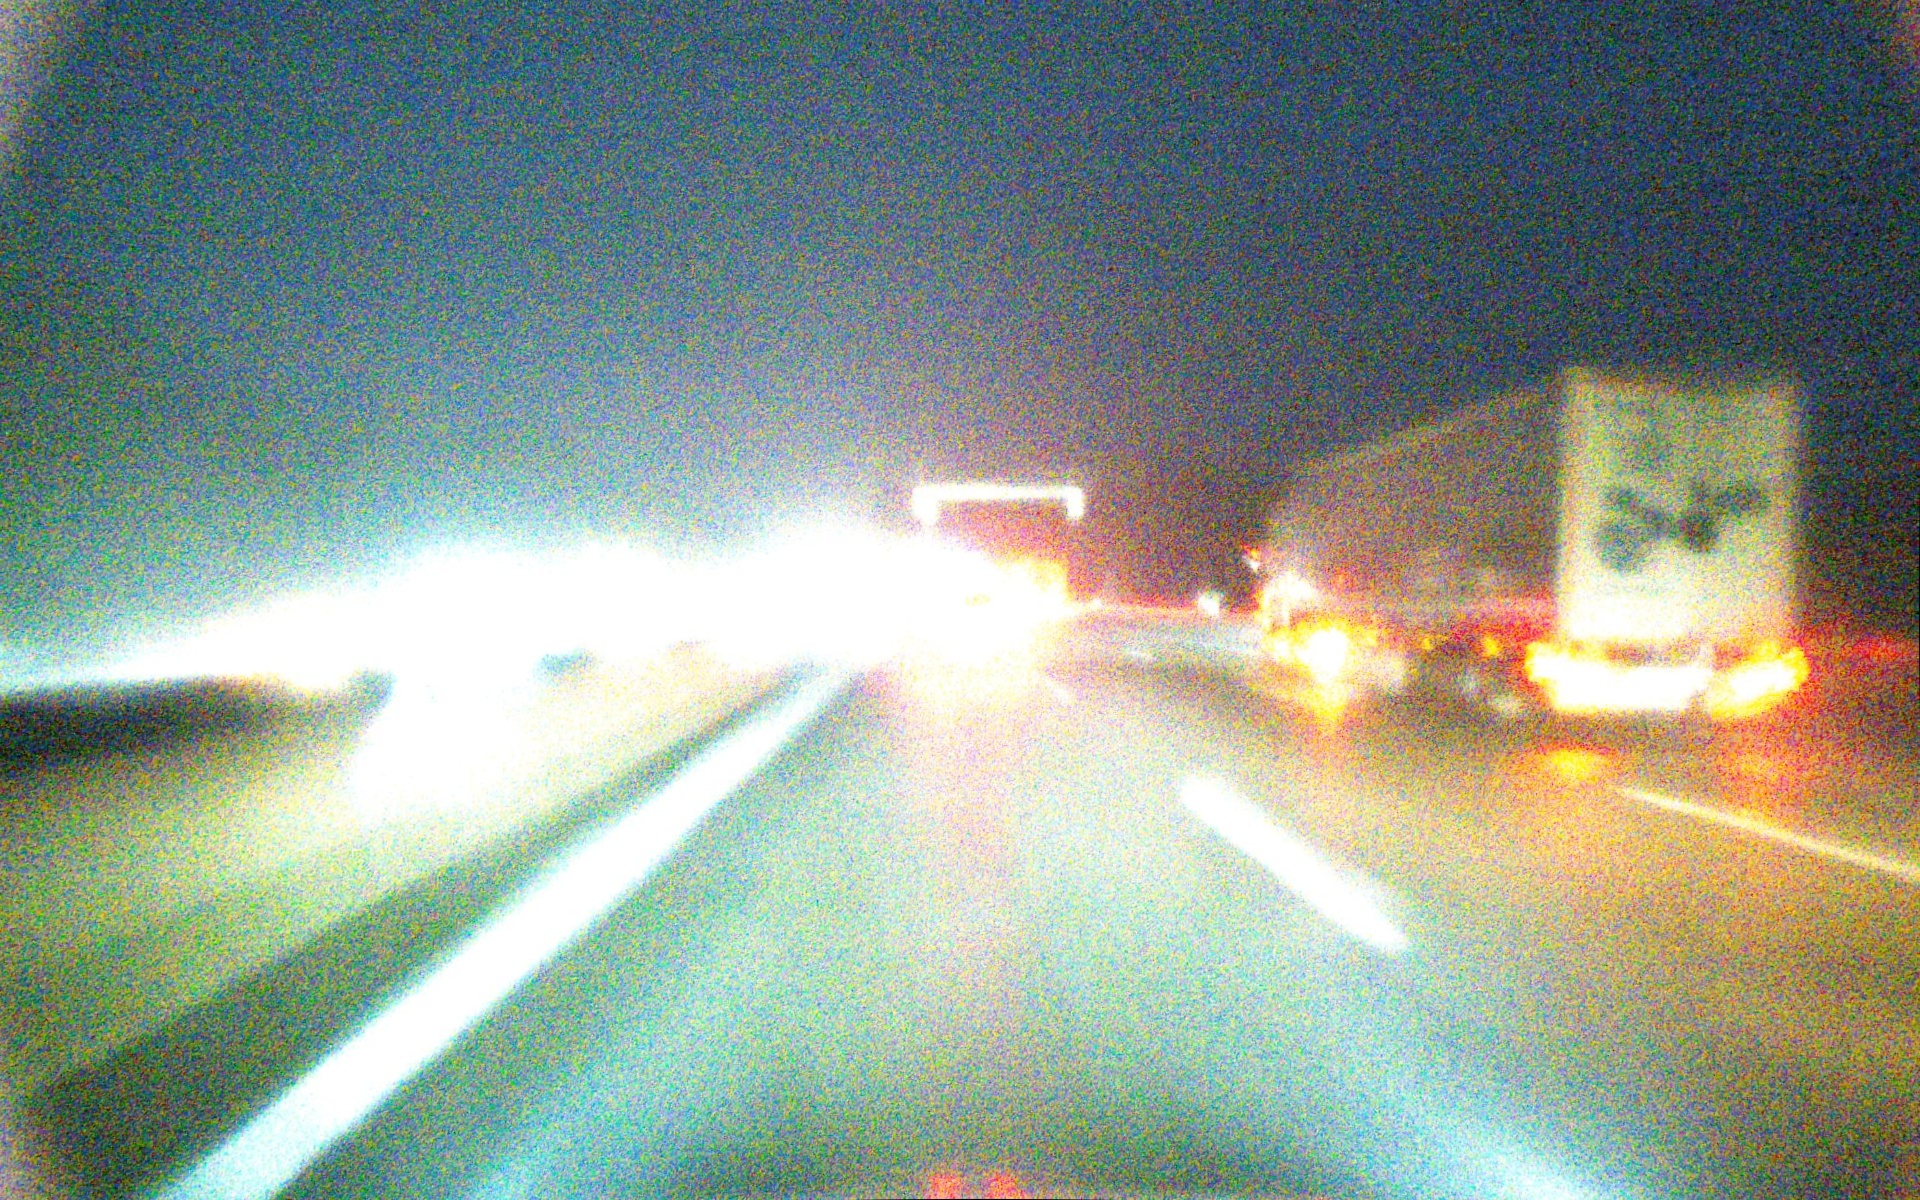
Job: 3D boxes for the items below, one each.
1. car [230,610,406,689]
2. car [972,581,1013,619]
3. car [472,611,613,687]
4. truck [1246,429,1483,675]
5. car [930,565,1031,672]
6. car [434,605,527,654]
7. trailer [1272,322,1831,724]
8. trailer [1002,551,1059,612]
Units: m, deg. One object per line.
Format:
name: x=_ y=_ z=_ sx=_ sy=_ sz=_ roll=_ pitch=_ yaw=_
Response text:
car: x=-13.215 y=0.975 z=34.353 sx=1.953 sy=1.466 sz=4.436 roll=-1 pitch=0 yaw=-1
car: x=1.877 y=0.019 z=95.825 sx=1.954 sy=2.049 sz=3.996 roll=-2 pitch=0 yaw=-4
car: x=-8.981 y=1.015 z=35.942 sx=1.953 sy=1.466 sz=4.436 roll=-1 pitch=0 yaw=-1
truck: x=7.494 y=-0.843 z=31.529 sx=2.844 sy=4.180 sz=6.029 roll=-1 pitch=0 yaw=-1
car: x=0.395 y=0.376 z=33.988 sx=1.953 sy=2.049 sz=3.999 roll=0 pitch=-1 yaw=0
car: x=-17.020 y=1.004 z=58.895 sx=1.952 sy=1.587 sz=4.534 roll=-1 pitch=1 yaw=0
trailer: x=7.623 y=-0.847 z=24.734 sx=2.844 sy=4.180 sz=14.484 roll=-1 pitch=0 yaw=-1
trailer: x=5.158 y=-1.263 z=123.938 sx=2.980 sy=4.180 sz=13.821 roll=-2 pitch=0 yaw=-2
